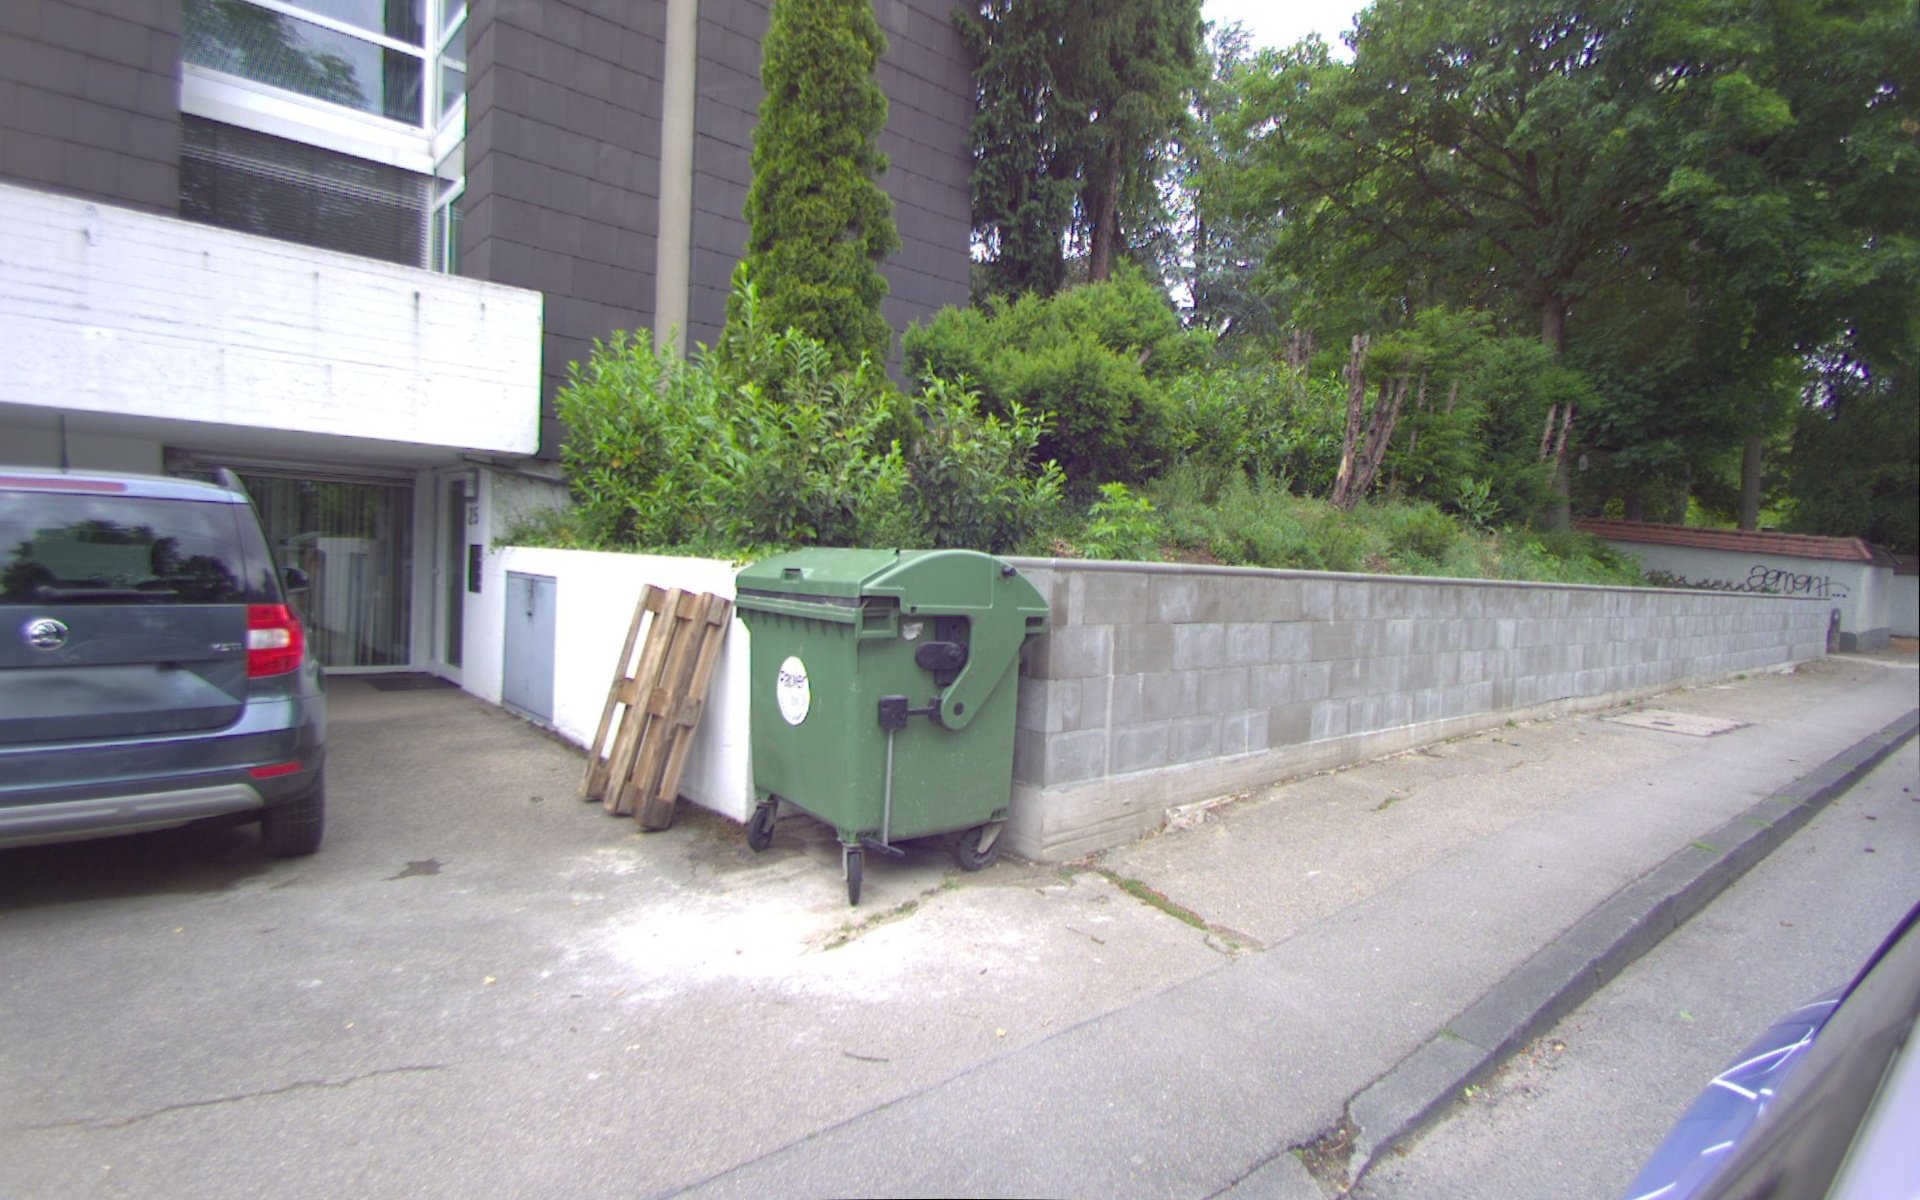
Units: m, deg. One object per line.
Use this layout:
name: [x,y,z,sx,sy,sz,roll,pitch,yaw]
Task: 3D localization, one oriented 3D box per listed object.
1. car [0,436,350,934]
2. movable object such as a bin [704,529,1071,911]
car: [-4.246,0.169,5.051,1.712,1.671,3.914,0,4,-36]
movable object such as a bin: [-0.381,0.422,4.775,1.096,1.469,1.407,-1,3,-40]
